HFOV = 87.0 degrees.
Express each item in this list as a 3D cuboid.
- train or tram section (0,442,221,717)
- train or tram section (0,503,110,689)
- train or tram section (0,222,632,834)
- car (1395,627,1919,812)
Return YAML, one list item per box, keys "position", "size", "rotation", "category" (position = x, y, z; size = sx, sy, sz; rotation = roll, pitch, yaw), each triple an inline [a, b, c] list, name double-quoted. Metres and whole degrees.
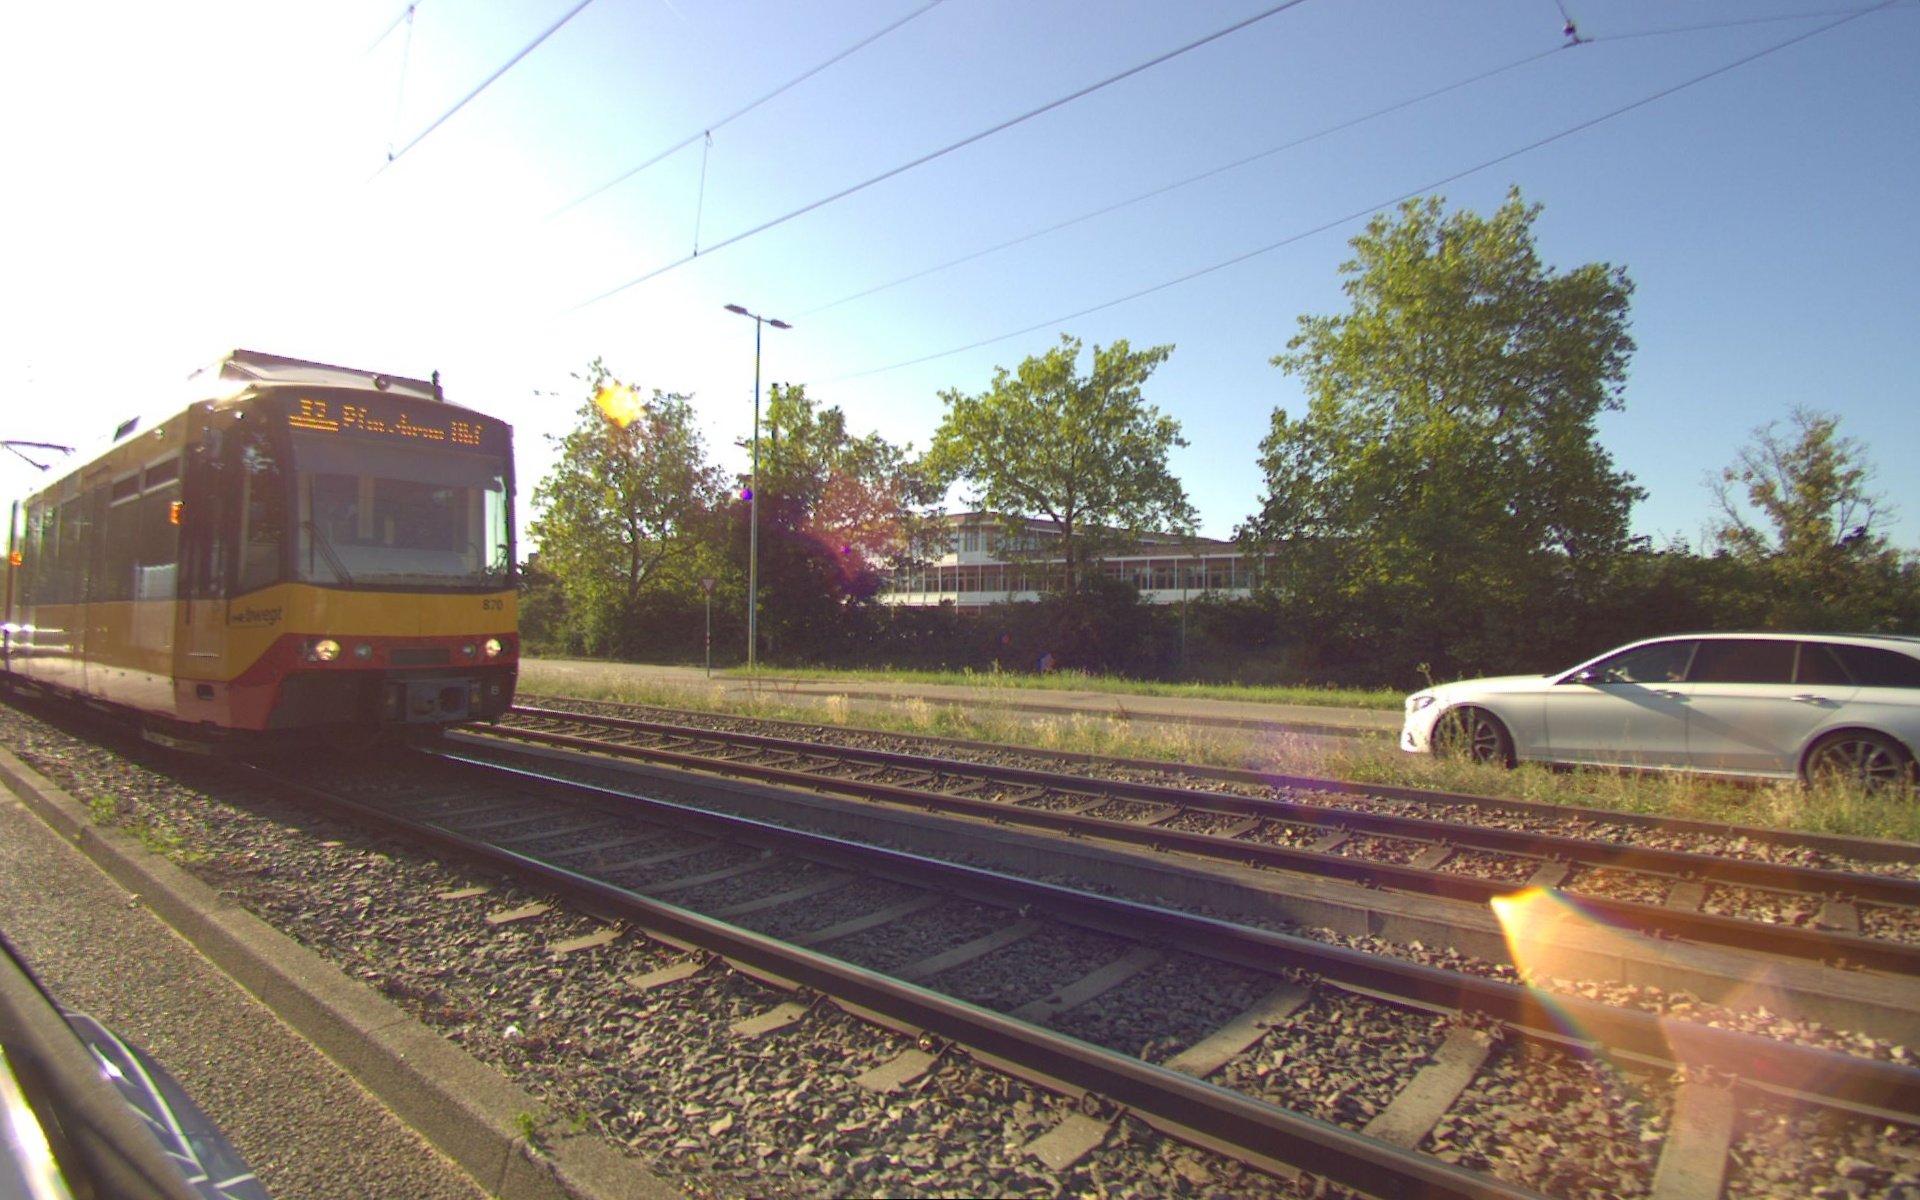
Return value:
- position: [-17.192, -0.184, 19.447]
  size: [9.906, 4.120, 2.666]
  rotation: [-1, -3, 41]
  category: "train or tram section"
- position: [-25.970, 0.052, 27.314]
  size: [13.611, 4.122, 2.692]
  rotation: [-1, -3, 42]
  category: "train or tram section"
- position: [-8.623, -0.355, 12.002]
  size: [12.804, 4.120, 2.691]
  rotation: [-1, -3, 41]
  category: "train or tram section"
- position: [6.906, 0.972, 9.486]
  size: [4.910, 1.423, 1.748]
  rotation: [-1, -2, 42]
  category: "car"
